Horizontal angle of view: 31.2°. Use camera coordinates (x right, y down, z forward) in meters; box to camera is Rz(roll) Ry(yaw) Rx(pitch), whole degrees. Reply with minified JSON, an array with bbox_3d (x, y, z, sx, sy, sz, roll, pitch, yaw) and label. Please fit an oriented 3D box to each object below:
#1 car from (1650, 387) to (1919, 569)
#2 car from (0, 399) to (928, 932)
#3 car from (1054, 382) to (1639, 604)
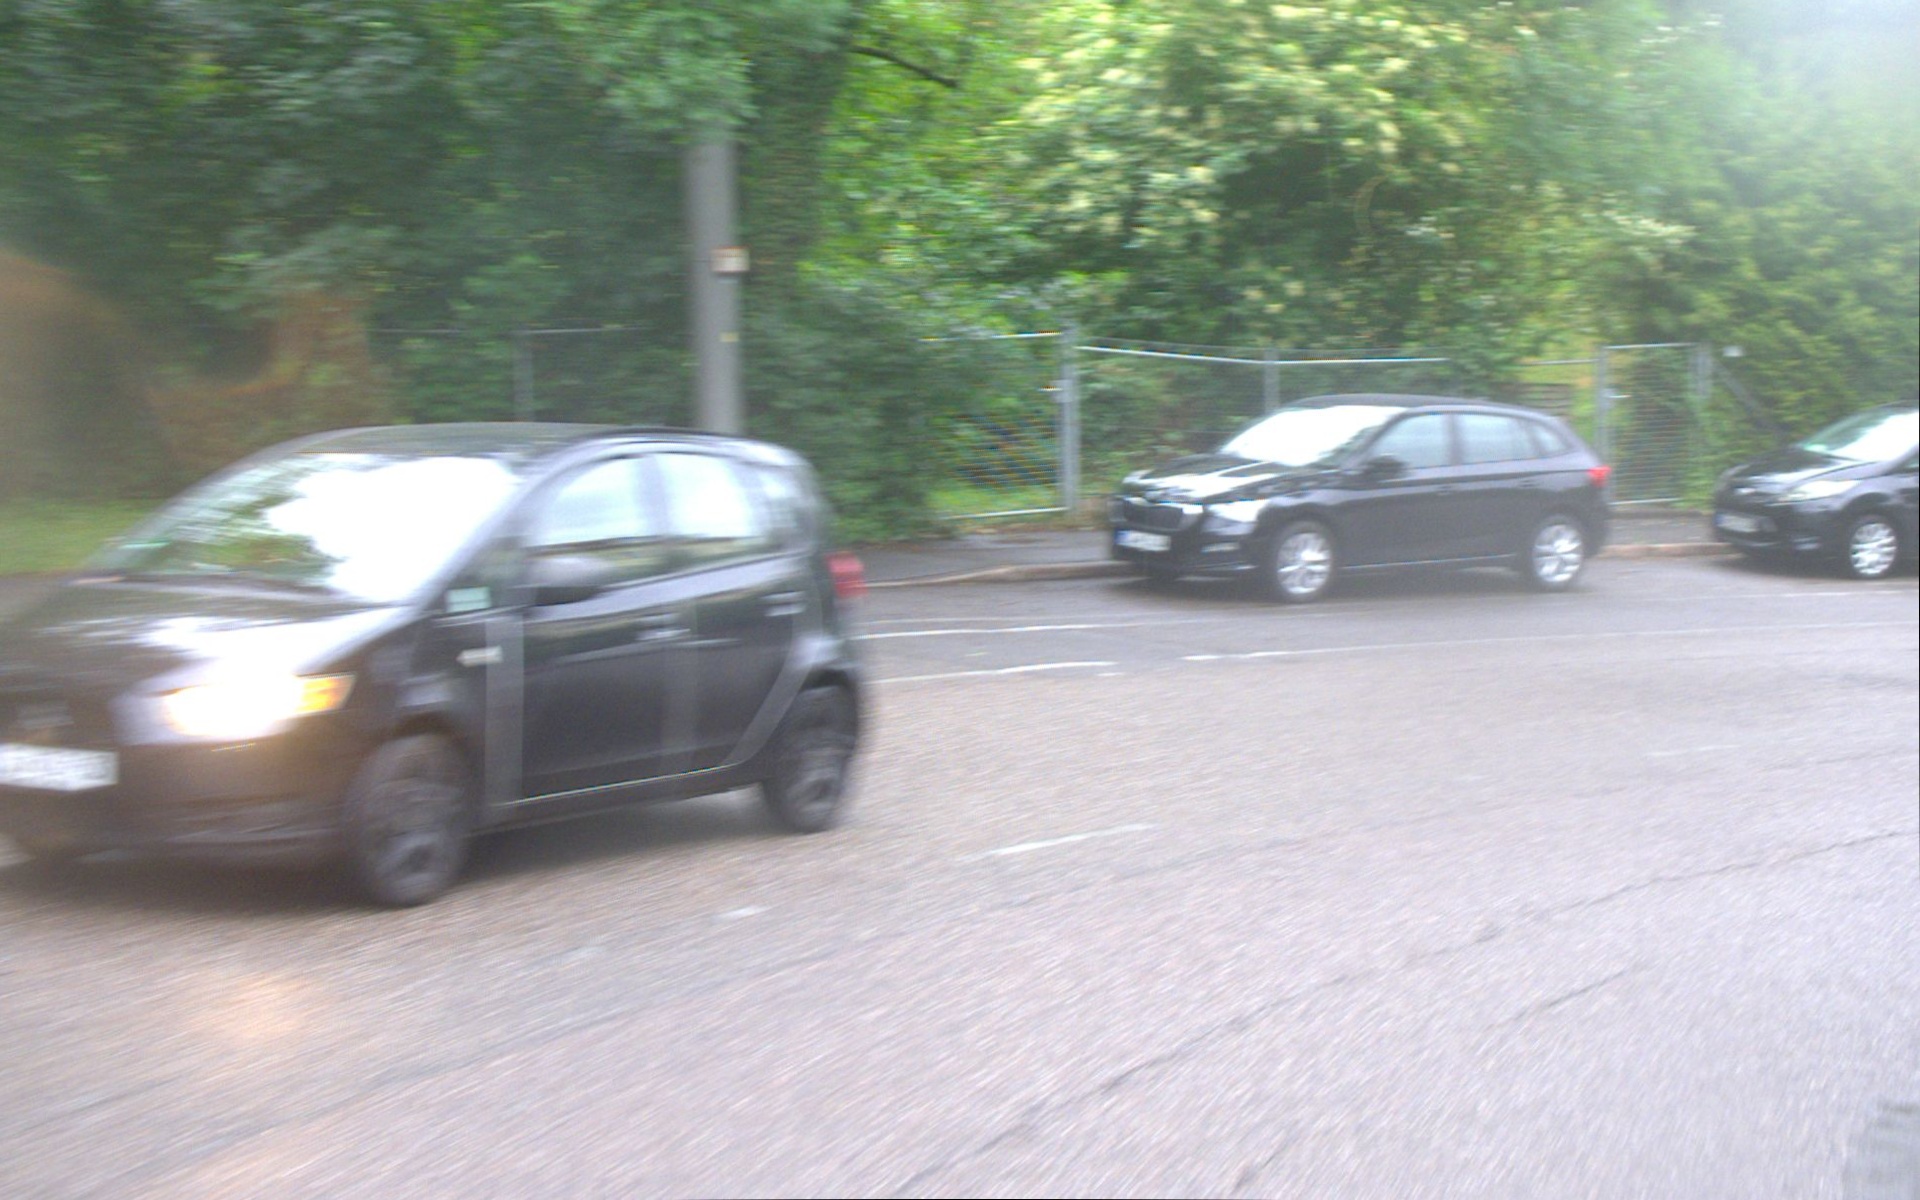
[{"bbox_3d":[8.304,-1.031,29.553,4.297,1.351,1.760,0,7,-21],"label":"car"},{"bbox_3d":[-1.915,0.086,12.233,1.763,1.513,4.079,4,4,29],"label":"car"},{"bbox_3d":[2.998,-0.852,26.288,4.300,1.460,1.784,-2,7,-36],"label":"car"}]
